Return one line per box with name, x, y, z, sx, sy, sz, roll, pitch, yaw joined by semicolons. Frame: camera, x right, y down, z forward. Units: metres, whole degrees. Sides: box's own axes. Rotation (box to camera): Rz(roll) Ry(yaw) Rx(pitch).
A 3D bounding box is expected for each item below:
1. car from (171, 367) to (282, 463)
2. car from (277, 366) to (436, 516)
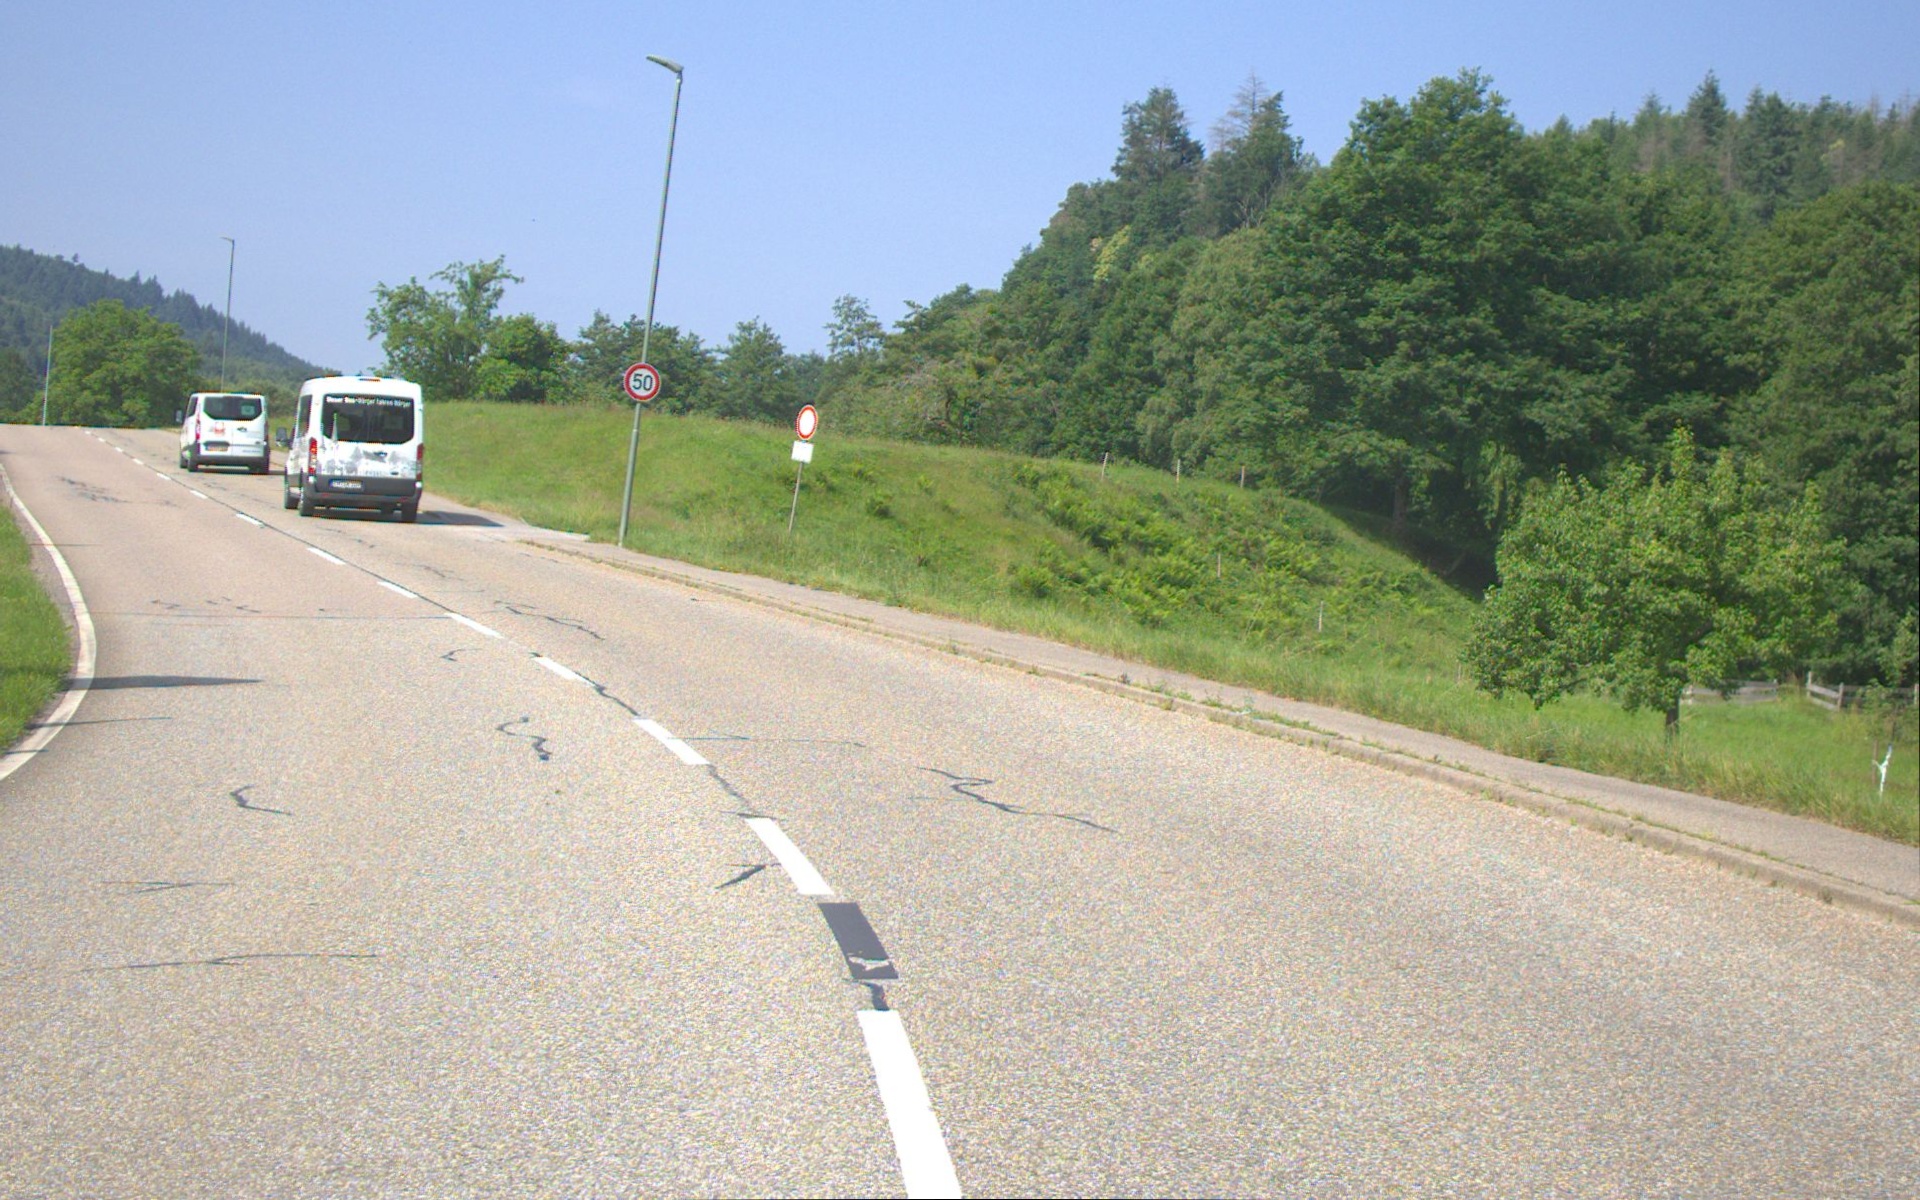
car;-18.506;-4.629;86.603;2.222;2.279;4.986;0;2;-18
car;-10.743;-2.778;60.923;2.222;2.517;4.986;0;2;-17
